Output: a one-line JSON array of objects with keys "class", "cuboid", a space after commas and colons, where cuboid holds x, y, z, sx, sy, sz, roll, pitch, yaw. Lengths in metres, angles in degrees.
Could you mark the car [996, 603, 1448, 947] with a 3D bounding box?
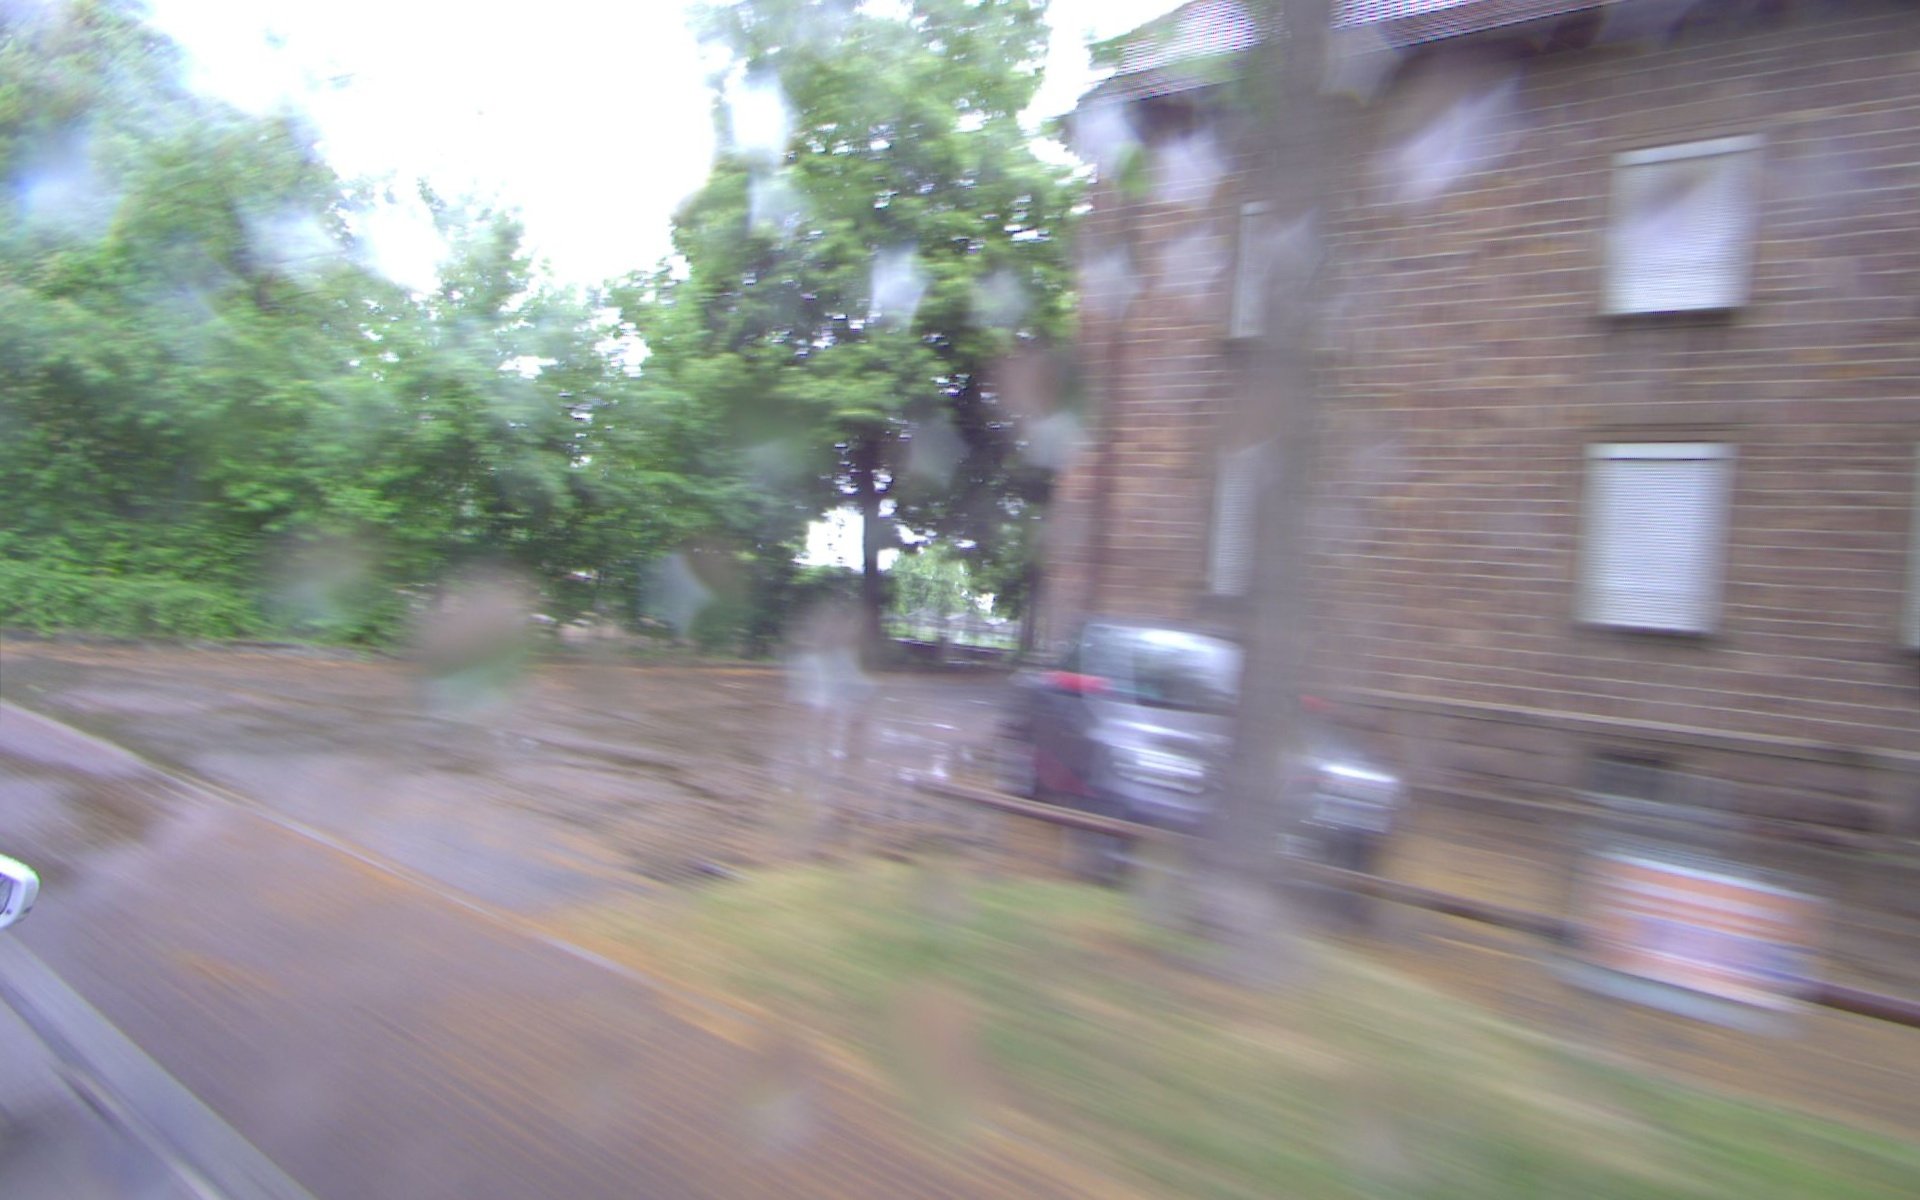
[{"class": "car", "cuboid": [1.386, 0.891, 6.781, 1.593, 1.570, 3.609, 6, -1, -7]}]
